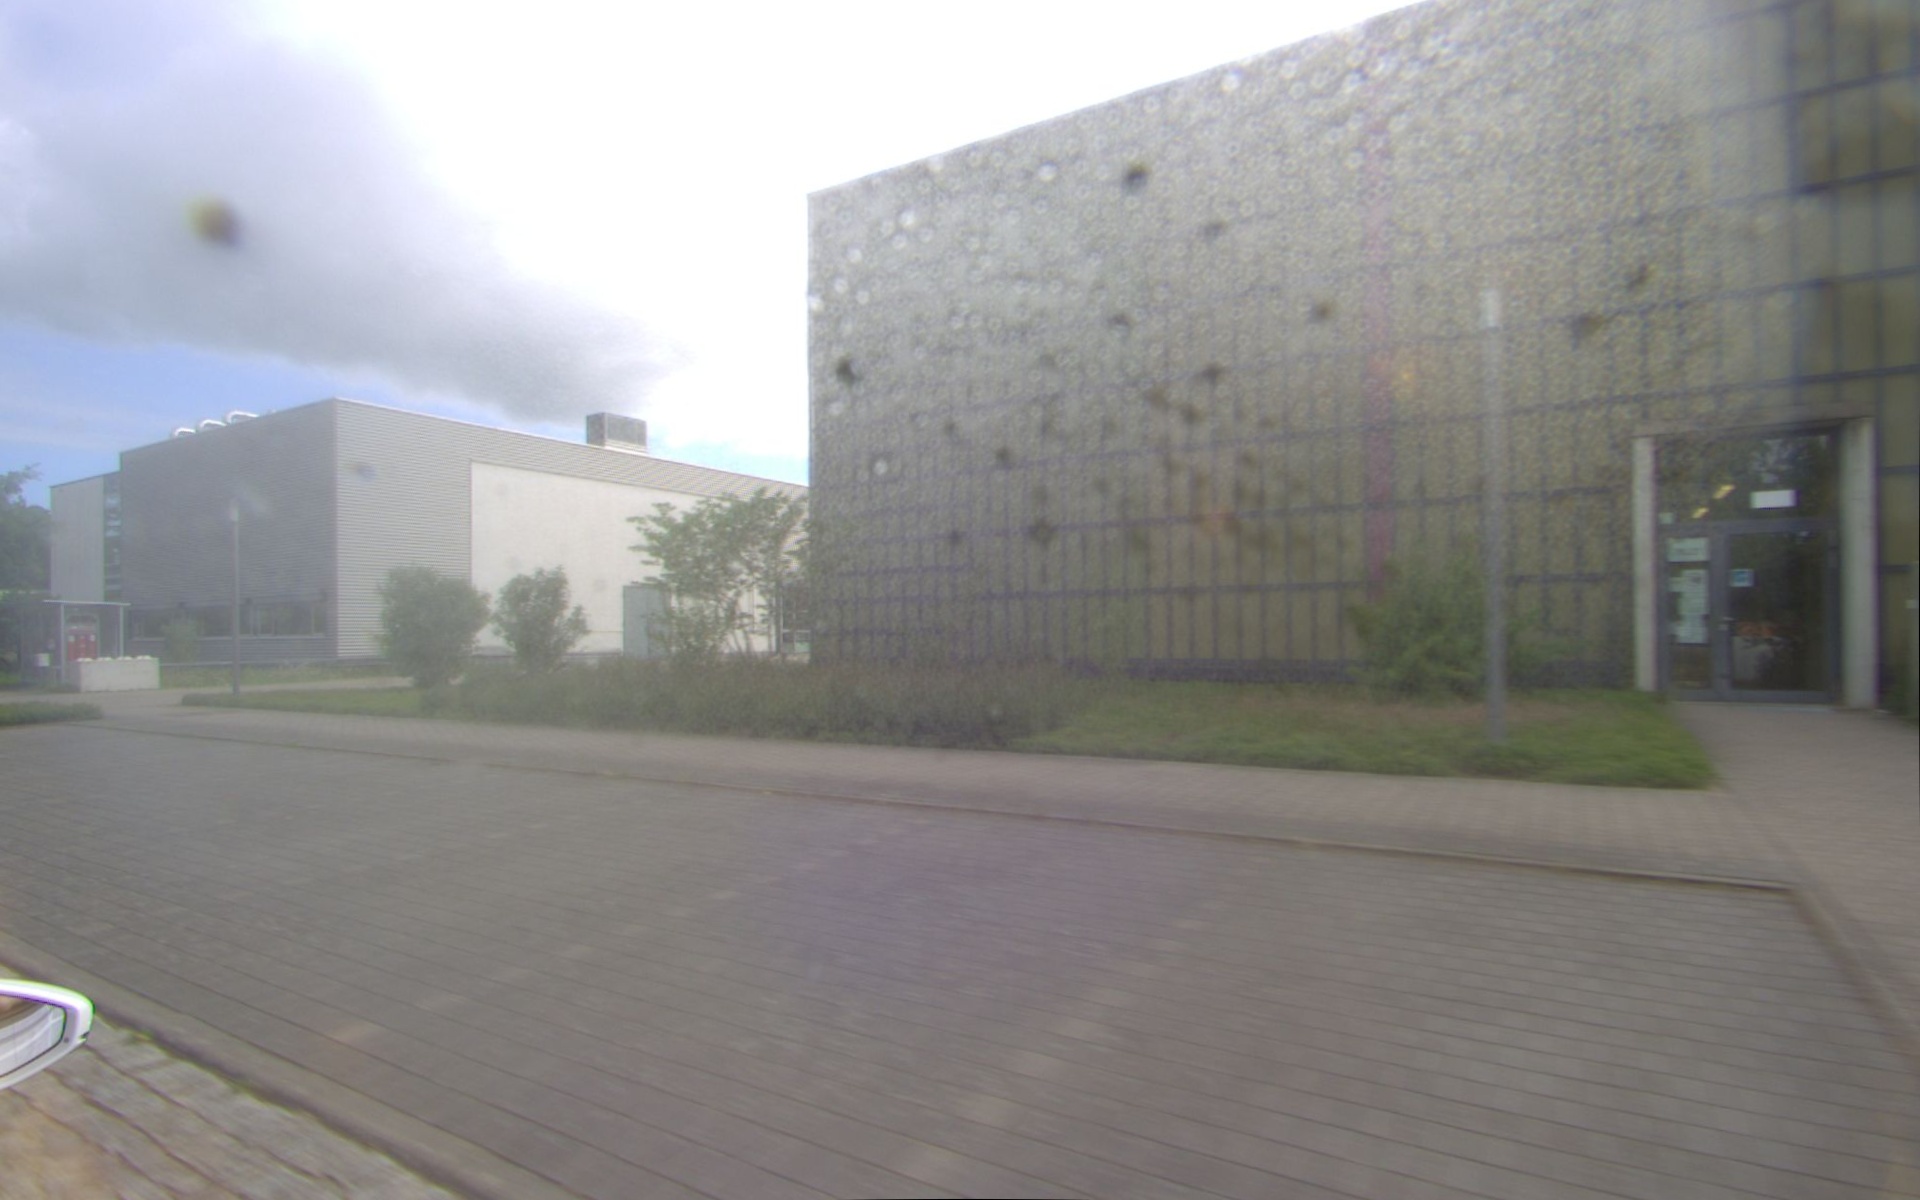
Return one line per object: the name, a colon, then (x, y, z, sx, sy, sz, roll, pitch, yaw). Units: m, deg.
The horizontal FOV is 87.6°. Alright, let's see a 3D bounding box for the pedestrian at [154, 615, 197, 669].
pedestrian: (-28.748, 1.542, 36.705, 0.838, 1.961, 0.920, 0, -1, 2)
